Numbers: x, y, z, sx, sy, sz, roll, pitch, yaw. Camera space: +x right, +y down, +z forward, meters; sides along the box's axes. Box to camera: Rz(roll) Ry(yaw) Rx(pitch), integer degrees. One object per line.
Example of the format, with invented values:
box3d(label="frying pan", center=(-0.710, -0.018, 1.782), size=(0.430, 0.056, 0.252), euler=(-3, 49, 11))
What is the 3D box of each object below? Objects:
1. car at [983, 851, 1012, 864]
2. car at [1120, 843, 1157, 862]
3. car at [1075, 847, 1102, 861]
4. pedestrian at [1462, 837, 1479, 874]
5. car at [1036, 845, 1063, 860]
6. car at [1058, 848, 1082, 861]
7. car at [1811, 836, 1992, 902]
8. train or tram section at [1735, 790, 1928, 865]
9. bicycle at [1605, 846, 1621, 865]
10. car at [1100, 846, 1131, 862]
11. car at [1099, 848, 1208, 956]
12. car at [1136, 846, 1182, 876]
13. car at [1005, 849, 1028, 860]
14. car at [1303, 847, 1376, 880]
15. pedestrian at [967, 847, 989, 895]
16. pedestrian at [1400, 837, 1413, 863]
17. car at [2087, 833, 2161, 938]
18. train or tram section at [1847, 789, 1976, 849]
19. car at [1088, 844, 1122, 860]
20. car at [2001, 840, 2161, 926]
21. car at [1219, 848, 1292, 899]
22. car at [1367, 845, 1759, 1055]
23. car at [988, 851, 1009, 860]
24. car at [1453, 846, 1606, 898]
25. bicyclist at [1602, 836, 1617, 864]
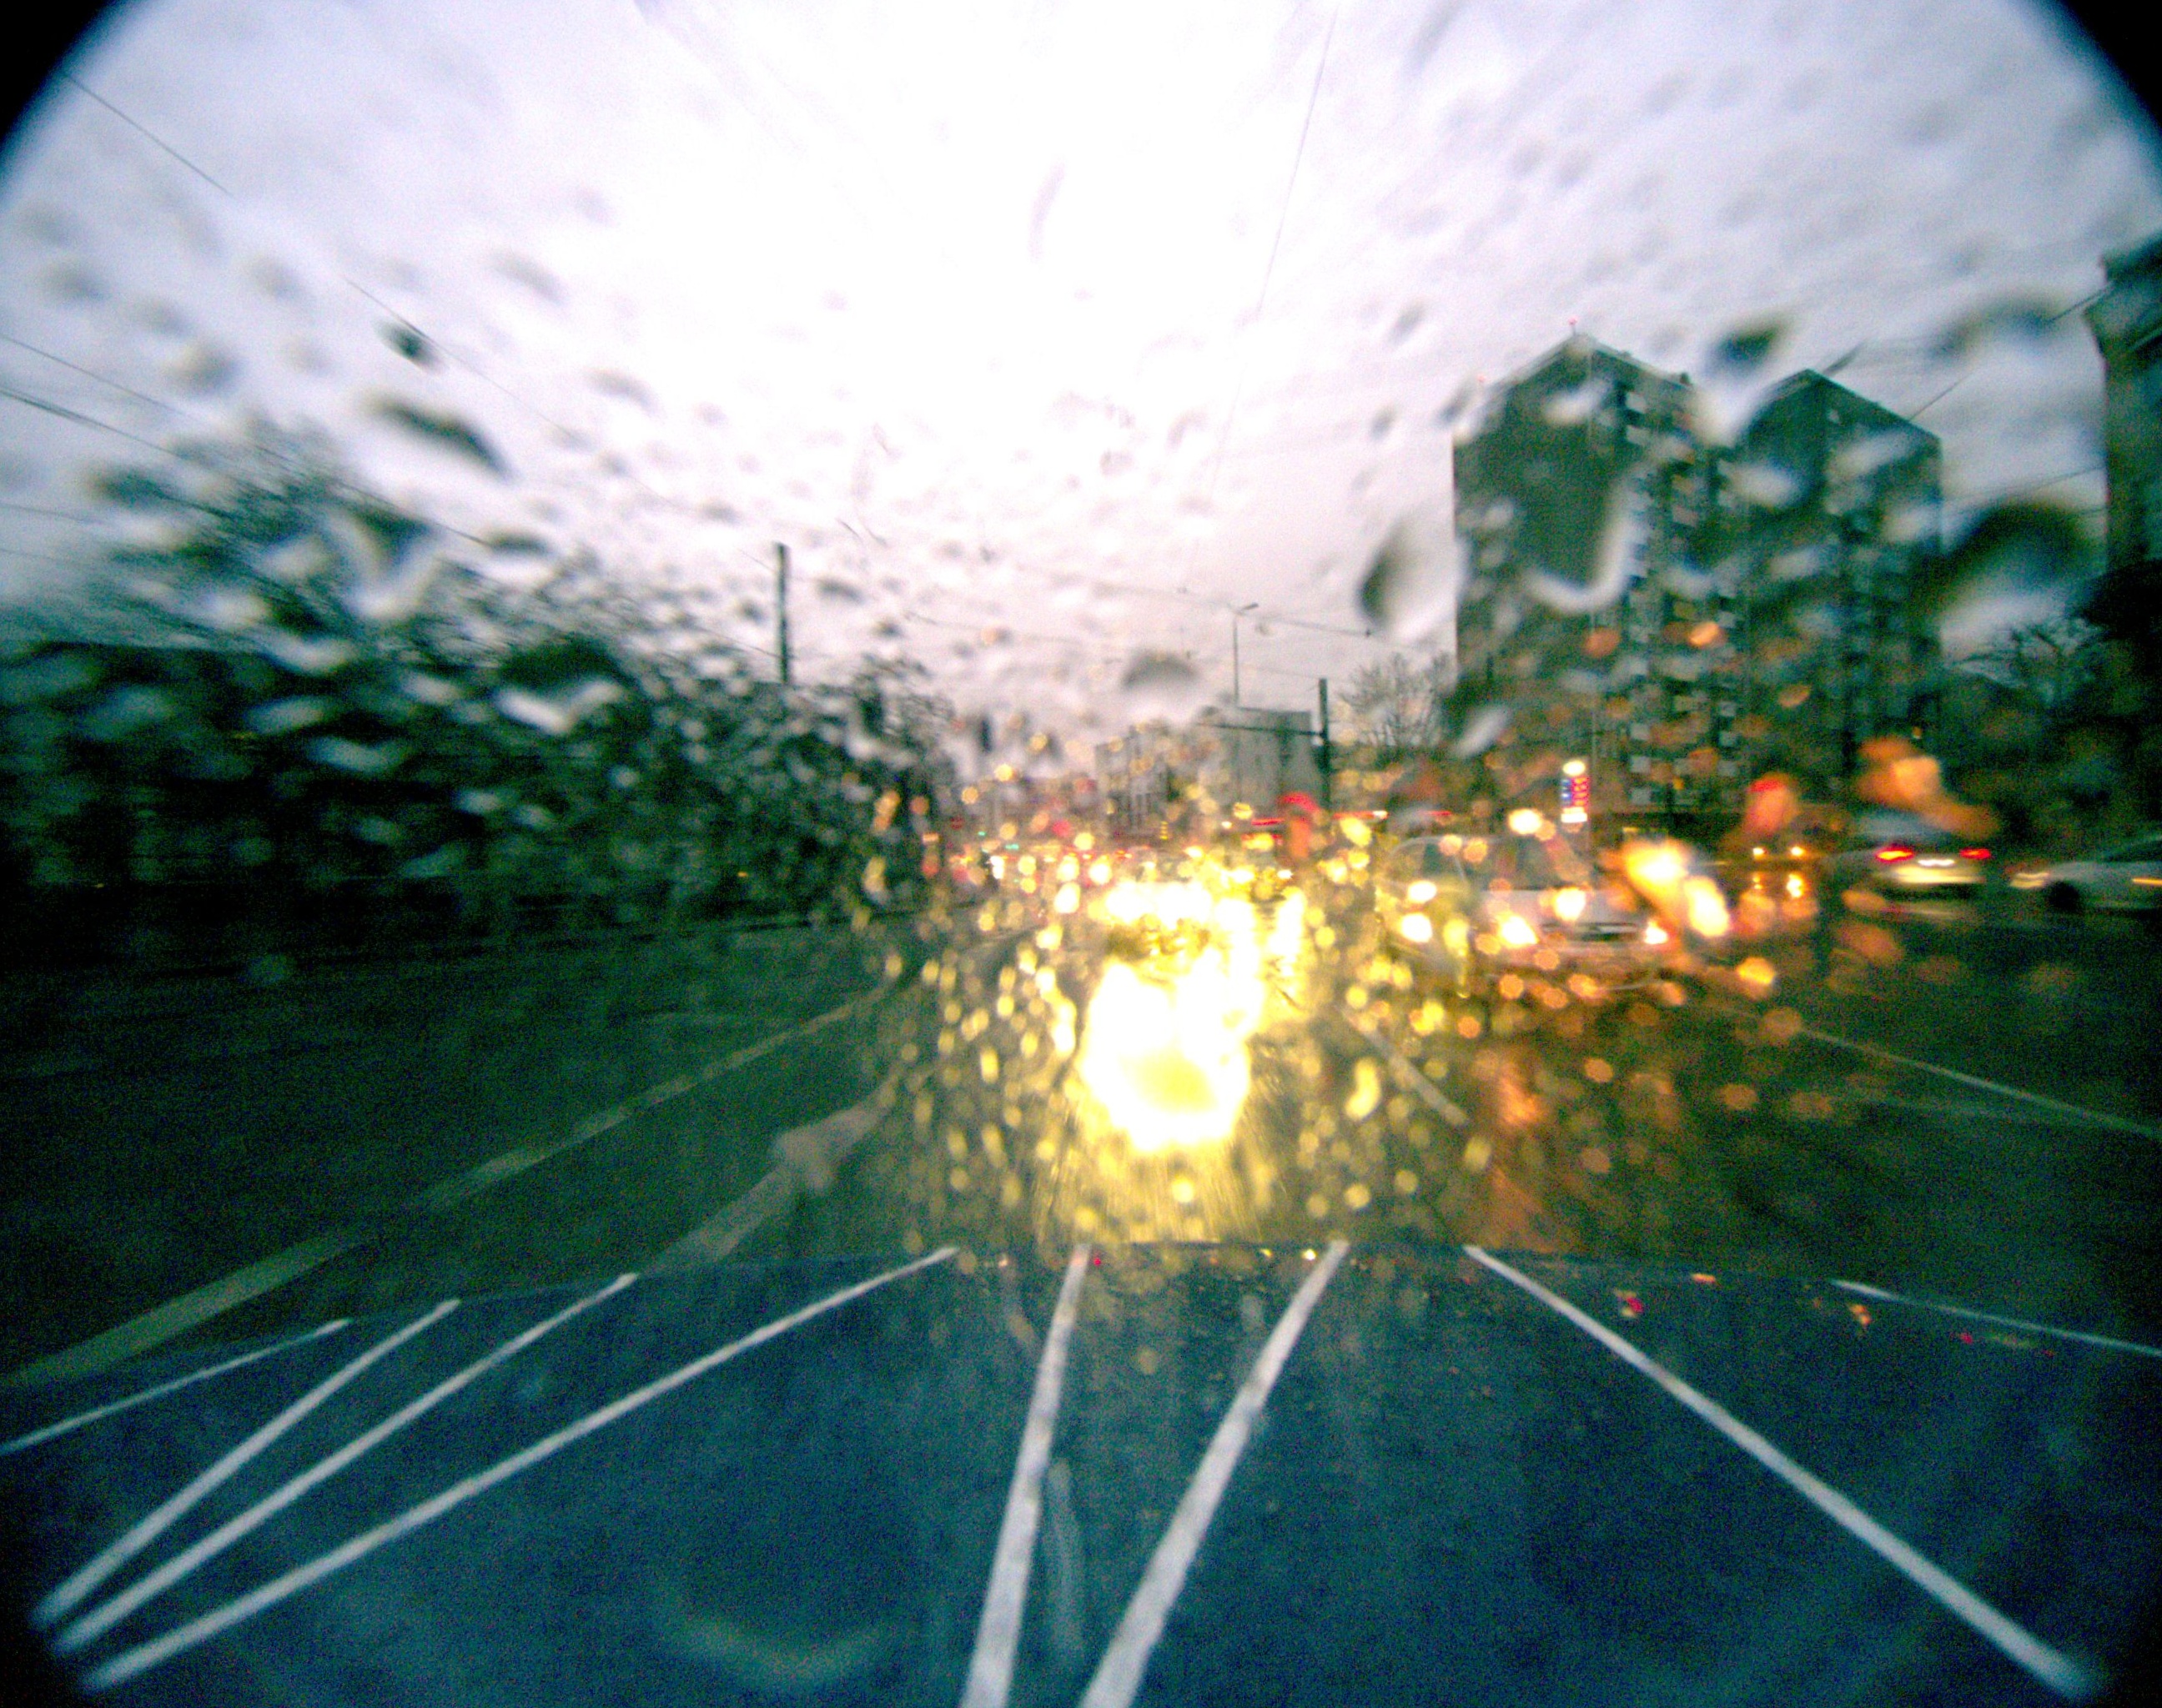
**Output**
box3d(label="car", center=(-9.388, 0.391, 84.696), size=(1.971, 1.378, 4.525), euler=(-1, 0, -23))
box3d(label="car", center=(6.108, -0.197, 81.075), size=(2.002, 1.934, 4.845), euler=(1, 0, -21))
box3d(label="car", center=(0.808, 0.020, 84.935), size=(1.652, 1.478, 4.137), euler=(-1, 0, -20))
box3d(label="pedestrian", center=(18.923, 0.063, 36.931), size=(0.468, 1.762, 0.628), euler=(-2, 2, -1))
box3d(label="car", center=(-4.157, -0.173, 98.751), size=(1.971, 1.772, 4.525), euler=(-1, 0, -23))
box3d(label="car", center=(-1.343, 0.051, 91.409), size=(1.652, 1.478, 3.993), euler=(-1, 0, -20))
box3d(label="car", center=(20.809, 0.311, 19.525), size=(1.681, 1.516, 4.235), euler=(-1, 1, 25))
box3d(label="train or tram section", center=(38.446, -1.516, 38.547), size=(16.332, 3.170, 3.161), euler=(-3, 2, -32))
box3d(label="bicycle", center=(27.428, 0.059, 39.148), size=(0.505, 0.895, 1.989), euler=(-1, 1, 40))
box3d(label="car", center=(3.485, 0.002, 77.591), size=(1.652, 1.621, 4.652), euler=(-1, 0, -18))
box3d(label="car", center=(1.196, 0.741, 13.790), size=(1.649, 1.575, 3.804), euler=(-2, 1, 2))
box3d(label="car", center=(4.731, 0.403, 46.624), size=(1.820, 1.732, 4.183), euler=(-1, 0, -8))
box3d(label="car", center=(-9.314, 0.083, 109.768), size=(1.971, 1.505, 4.525), euler=(-1, 0, -23))
box3d(label="car", center=(12.544, 0.423, 37.176), size=(1.685, 1.449, 4.059), euler=(-1, 1, -8))
box3d(label="pedestrian", center=(-4.026, 0.662, 29.649), size=(0.573, 1.828, 0.683), euler=(4, 0, 5))
box3d(label="pedestrian", center=(22.383, -0.254, 52.280), size=(0.629, 1.782, 0.531), euler=(-3, 1, -35))
box3d(label="car", center=(16.215, 0.446, 10.064), size=(1.492, 1.478, 3.149), euler=(-2, 1, -10))
box3d(label="train or tram section", center=(50.138, -2.180, 45.739), size=(11.167, 3.219, 3.161), euler=(-3, 2, -31))
box3d(label="car", center=(2.294, -0.181, 73.338), size=(1.651, 1.441, 3.842), euler=(-2, 1, -27))
box3d(label="car", center=(18.631, 0.475, 12.810), size=(1.686, 1.384, 3.609), euler=(-2, 1, -13))
box3d(label="car", center=(5.687, 0.584, 25.173), size=(1.752, 1.535, 4.001), euler=(-1, 0, 4))
box3d(label="car", center=(4.410, 0.713, 7.801), size=(1.649, 1.539, 4.110), euler=(-2, 1, 5))
box3d(label="car", center=(-12.767, 0.205, 117.868), size=(1.971, 1.378, 4.525), euler=(-1, 0, -23))
box3d(label="car", center=(13.812, 0.485, 23.747), size=(1.686, 1.449, 4.330), euler=(-2, 1, -10))
box3d(label="bicyclist", center=(27.361, -0.215, 39.329), size=(0.505, 1.382, 0.971), euler=(-1, 1, 40))
